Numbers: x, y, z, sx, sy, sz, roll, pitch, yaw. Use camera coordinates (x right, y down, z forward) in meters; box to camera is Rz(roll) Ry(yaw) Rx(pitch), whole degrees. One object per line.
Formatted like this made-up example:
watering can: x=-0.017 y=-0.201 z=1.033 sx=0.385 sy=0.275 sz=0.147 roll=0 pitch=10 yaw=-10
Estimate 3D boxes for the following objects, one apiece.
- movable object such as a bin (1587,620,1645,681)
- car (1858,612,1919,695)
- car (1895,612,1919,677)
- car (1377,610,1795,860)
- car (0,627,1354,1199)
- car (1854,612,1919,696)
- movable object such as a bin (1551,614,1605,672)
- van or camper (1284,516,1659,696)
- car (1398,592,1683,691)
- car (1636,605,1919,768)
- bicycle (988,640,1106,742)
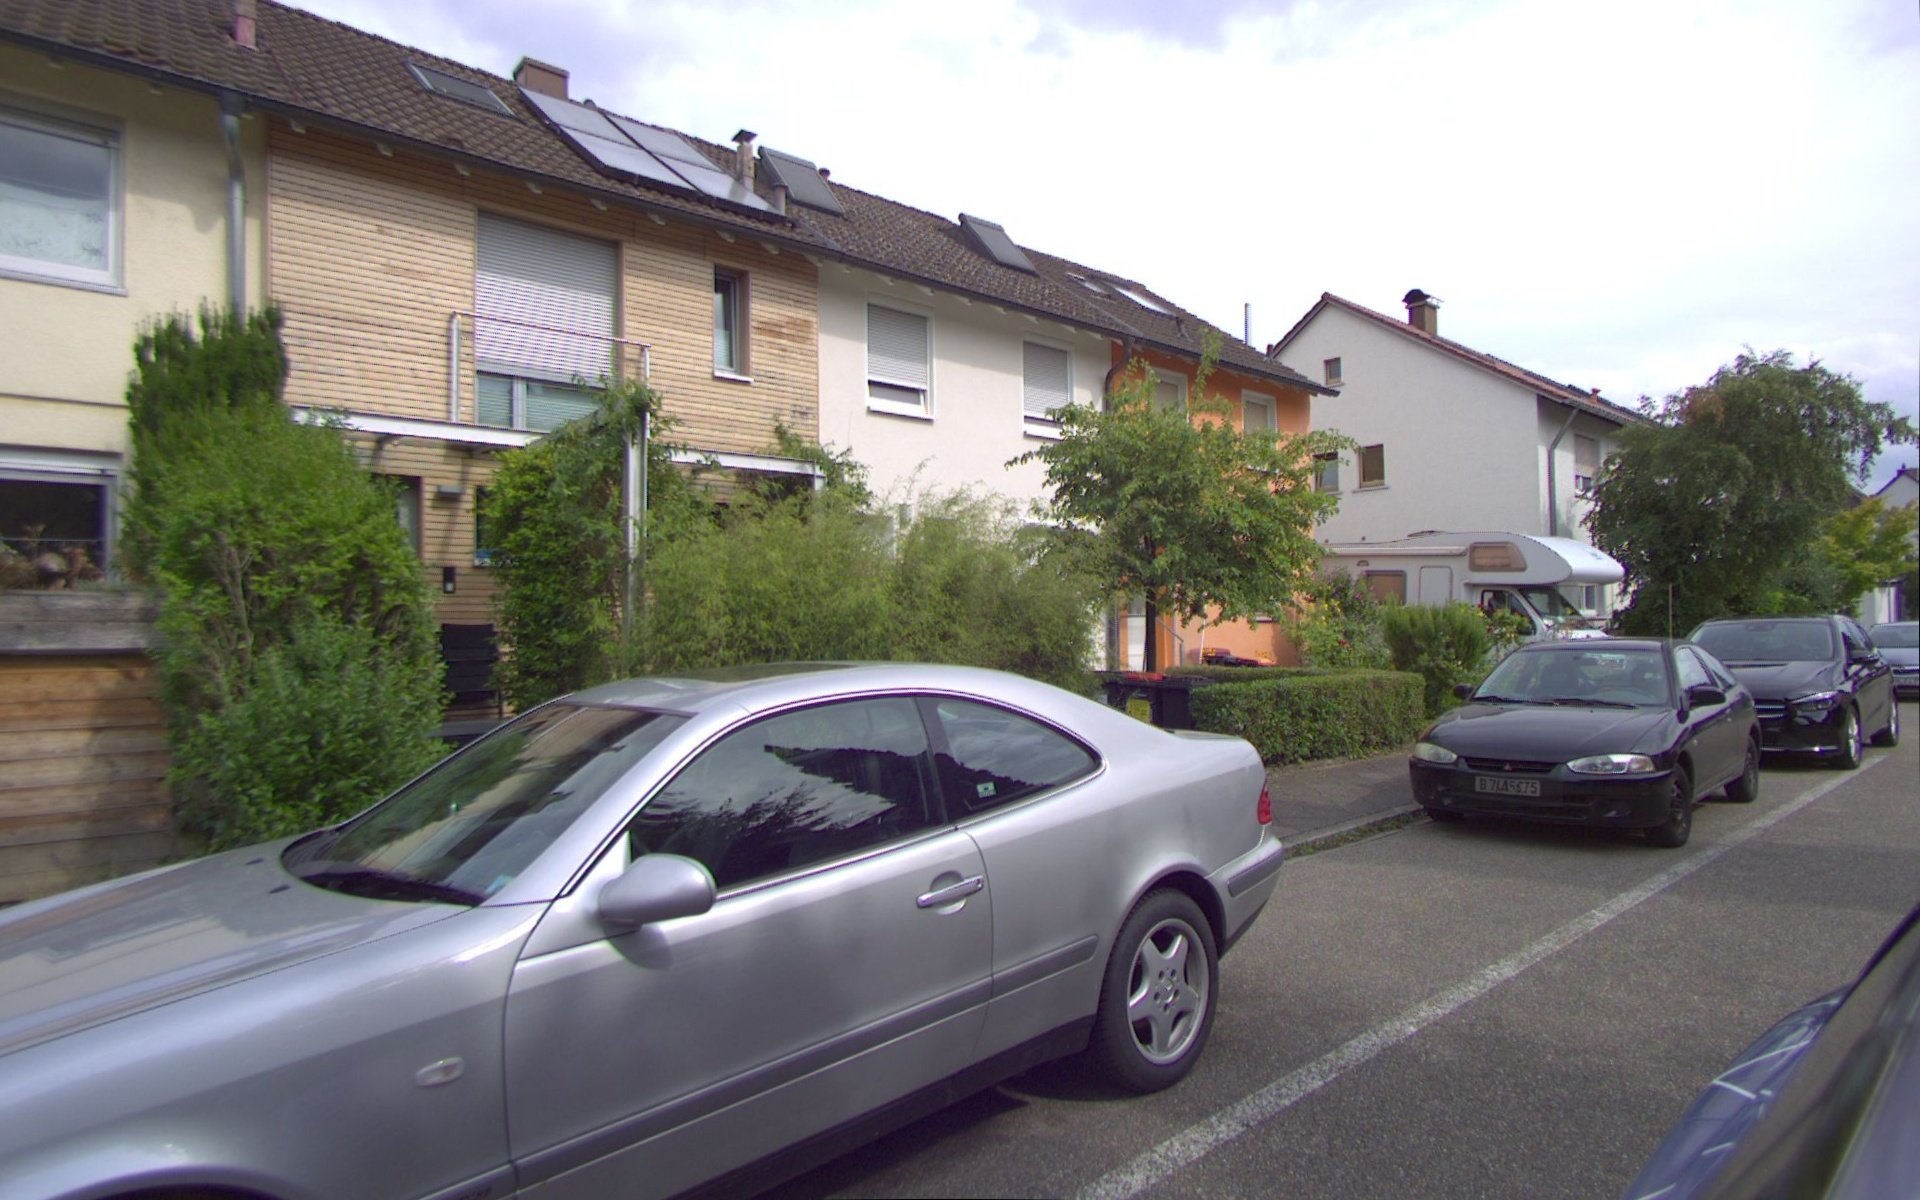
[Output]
movable object such as a bin: x=13.577 y=1.028 z=20.933 sx=1.080 sy=1.209 sz=0.721 roll=0 pitch=-1 yaw=-40
car: x=18.600 y=0.962 z=19.321 sx=4.148 sy=1.461 sz=1.704 roll=0 pitch=-3 yaw=-42
car: x=22.724 y=0.964 z=22.956 sx=4.616 sy=1.382 sz=1.695 roll=0 pitch=-2 yaw=-41
car: x=5.075 y=0.827 z=7.968 sx=4.055 sy=1.446 sz=1.734 roll=0 pitch=-2 yaw=-42
car: x=-0.859 y=0.850 z=3.019 sx=4.686 sy=1.426 sz=1.869 roll=0 pitch=-3 yaw=-42
car: x=18.702 y=0.973 z=19.362 sx=4.141 sy=1.490 sz=1.745 roll=1 pitch=-2 yaw=-39
movable object such as a bin: x=13.124 y=0.893 z=21.485 sx=1.122 sy=1.191 sz=0.654 roll=0 pitch=-1 yaw=-40
van or camper: x=9.341 y=0.135 z=19.070 sx=2.489 sy=2.854 sz=5.814 roll=1 pitch=-1 yaw=-37
car: x=11.382 y=0.782 z=20.168 sx=1.864 sy=1.730 sz=4.543 roll=0 pitch=-2 yaw=-37
car: x=9.410 y=0.825 z=11.444 sx=4.566 sy=1.486 sz=1.752 roll=0 pitch=-2 yaw=-41
bicycle: x=1.017 y=0.977 z=11.431 sx=0.656 sy=0.995 sz=1.734 roll=0 pitch=-1 yaw=30
